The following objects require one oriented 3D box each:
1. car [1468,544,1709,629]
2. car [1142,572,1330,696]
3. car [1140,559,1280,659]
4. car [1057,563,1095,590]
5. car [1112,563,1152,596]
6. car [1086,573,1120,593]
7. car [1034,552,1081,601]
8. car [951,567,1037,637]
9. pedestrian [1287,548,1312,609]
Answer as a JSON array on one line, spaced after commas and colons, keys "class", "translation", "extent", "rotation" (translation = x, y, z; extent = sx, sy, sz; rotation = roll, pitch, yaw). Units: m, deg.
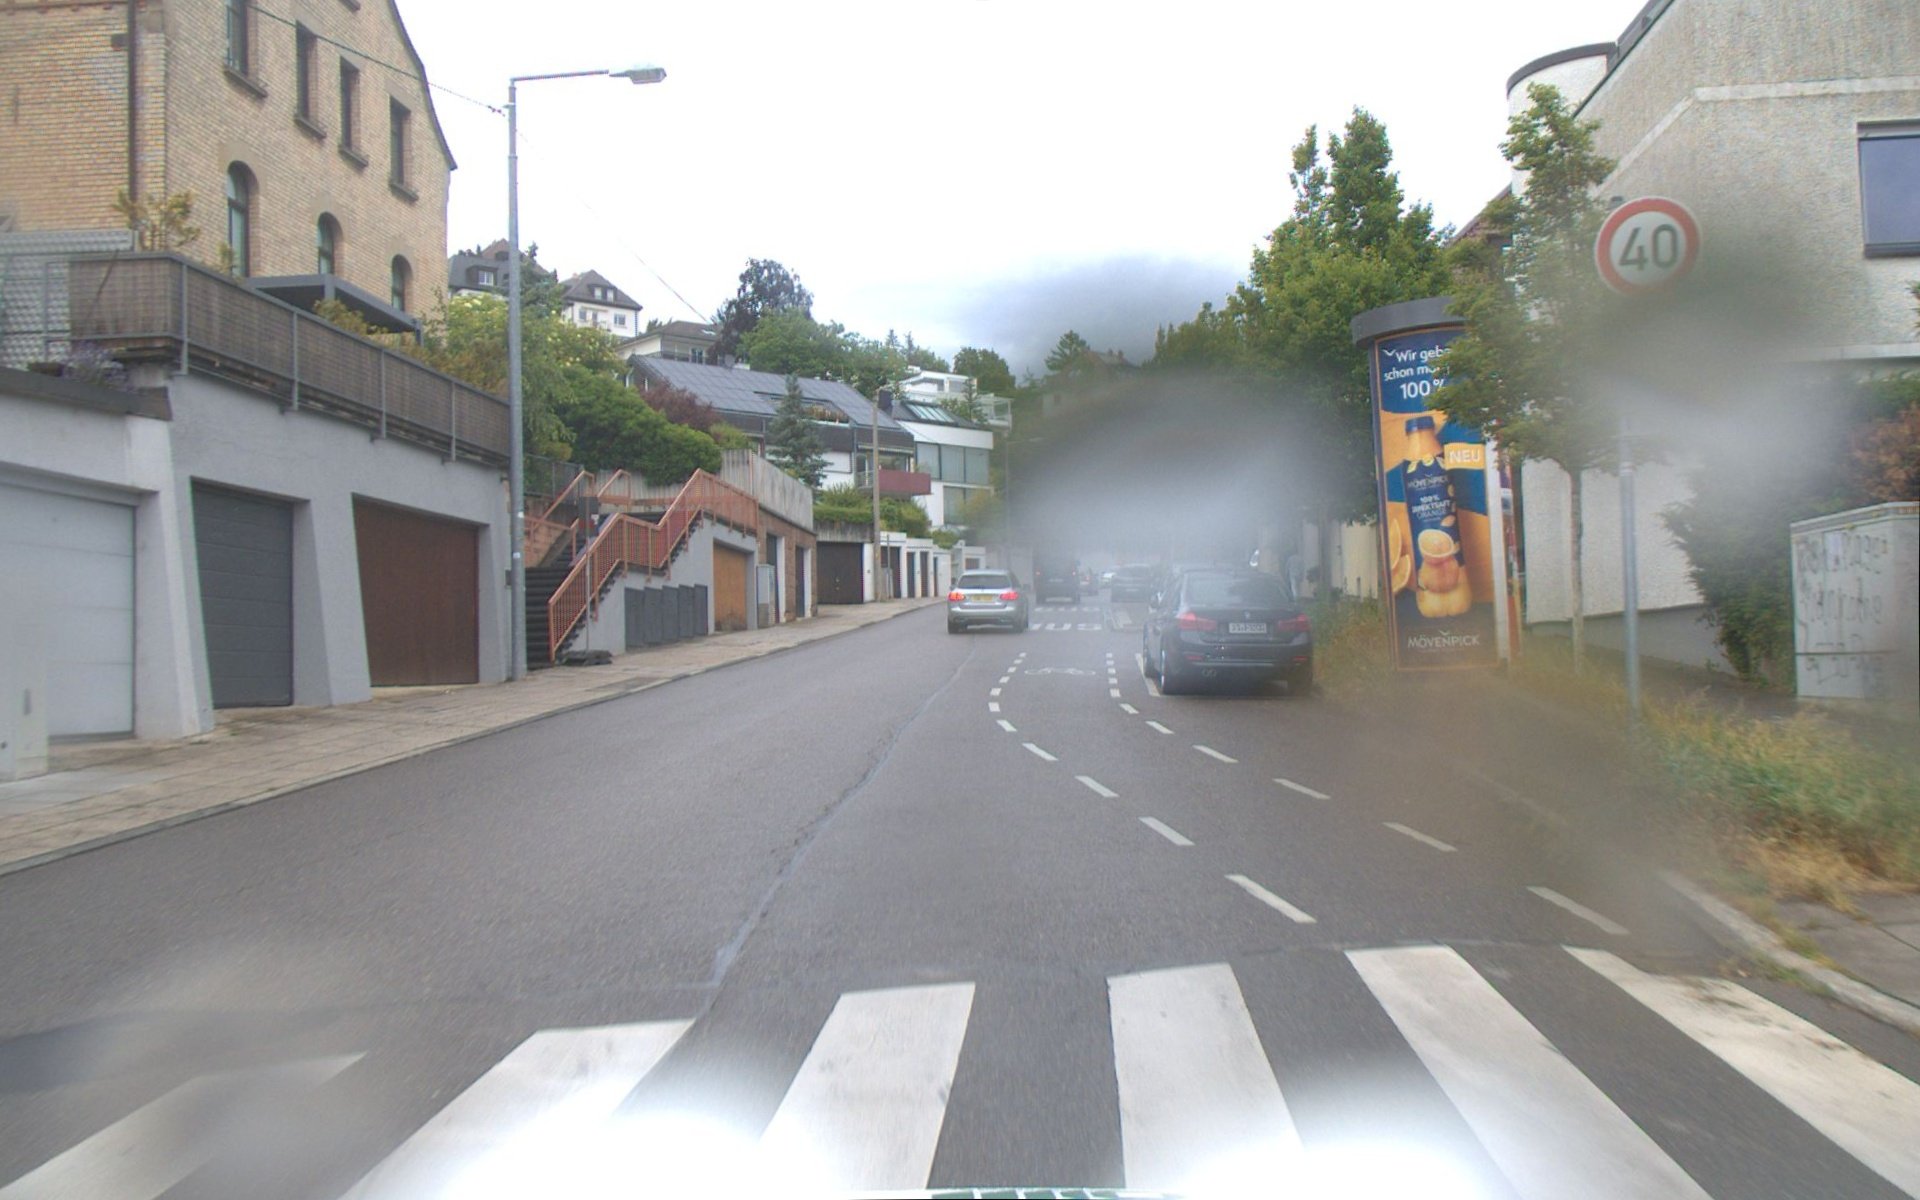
[{"class": "car", "translation": [11.130, -0.255, 29.483], "extent": [3.904, 1.439, 1.726], "rotation": [0, 0, 19]}, {"class": "car", "translation": [3.356, 0.346, 20.868], "extent": [1.734, 1.401, 4.350], "rotation": [0, 1, 1]}, {"class": "car", "translation": [3.898, 0.102, 26.319], "extent": [1.680, 1.475, 3.833], "rotation": [0, 1, 0]}, {"class": "car", "translation": [5.671, -1.146, 80.511], "extent": [1.785, 1.319, 4.003], "rotation": [0, 1, 4]}, {"class": "car", "translation": [6.948, -0.831, 66.617], "extent": [1.437, 1.276, 3.585], "rotation": [0, 1, 8]}, {"class": "car", "translation": [9.602, -1.178, 110.787], "extent": [1.785, 1.319, 4.004], "rotation": [0, 1, 12]}, {"class": "car", "translation": [3.845, -0.916, 64.993], "extent": [1.786, 1.851, 4.002], "rotation": [0, 1, 4]}, {"class": "car", "translation": [0.856, 0.007, 39.163], "extent": [1.773, 1.384, 4.003], "rotation": [2, 3, 4]}, {"class": "pedestrian", "translation": [10.266, -0.653, 50.084], "extent": [0.625, 1.826, 0.745], "rotation": [0, 1, 2]}]
